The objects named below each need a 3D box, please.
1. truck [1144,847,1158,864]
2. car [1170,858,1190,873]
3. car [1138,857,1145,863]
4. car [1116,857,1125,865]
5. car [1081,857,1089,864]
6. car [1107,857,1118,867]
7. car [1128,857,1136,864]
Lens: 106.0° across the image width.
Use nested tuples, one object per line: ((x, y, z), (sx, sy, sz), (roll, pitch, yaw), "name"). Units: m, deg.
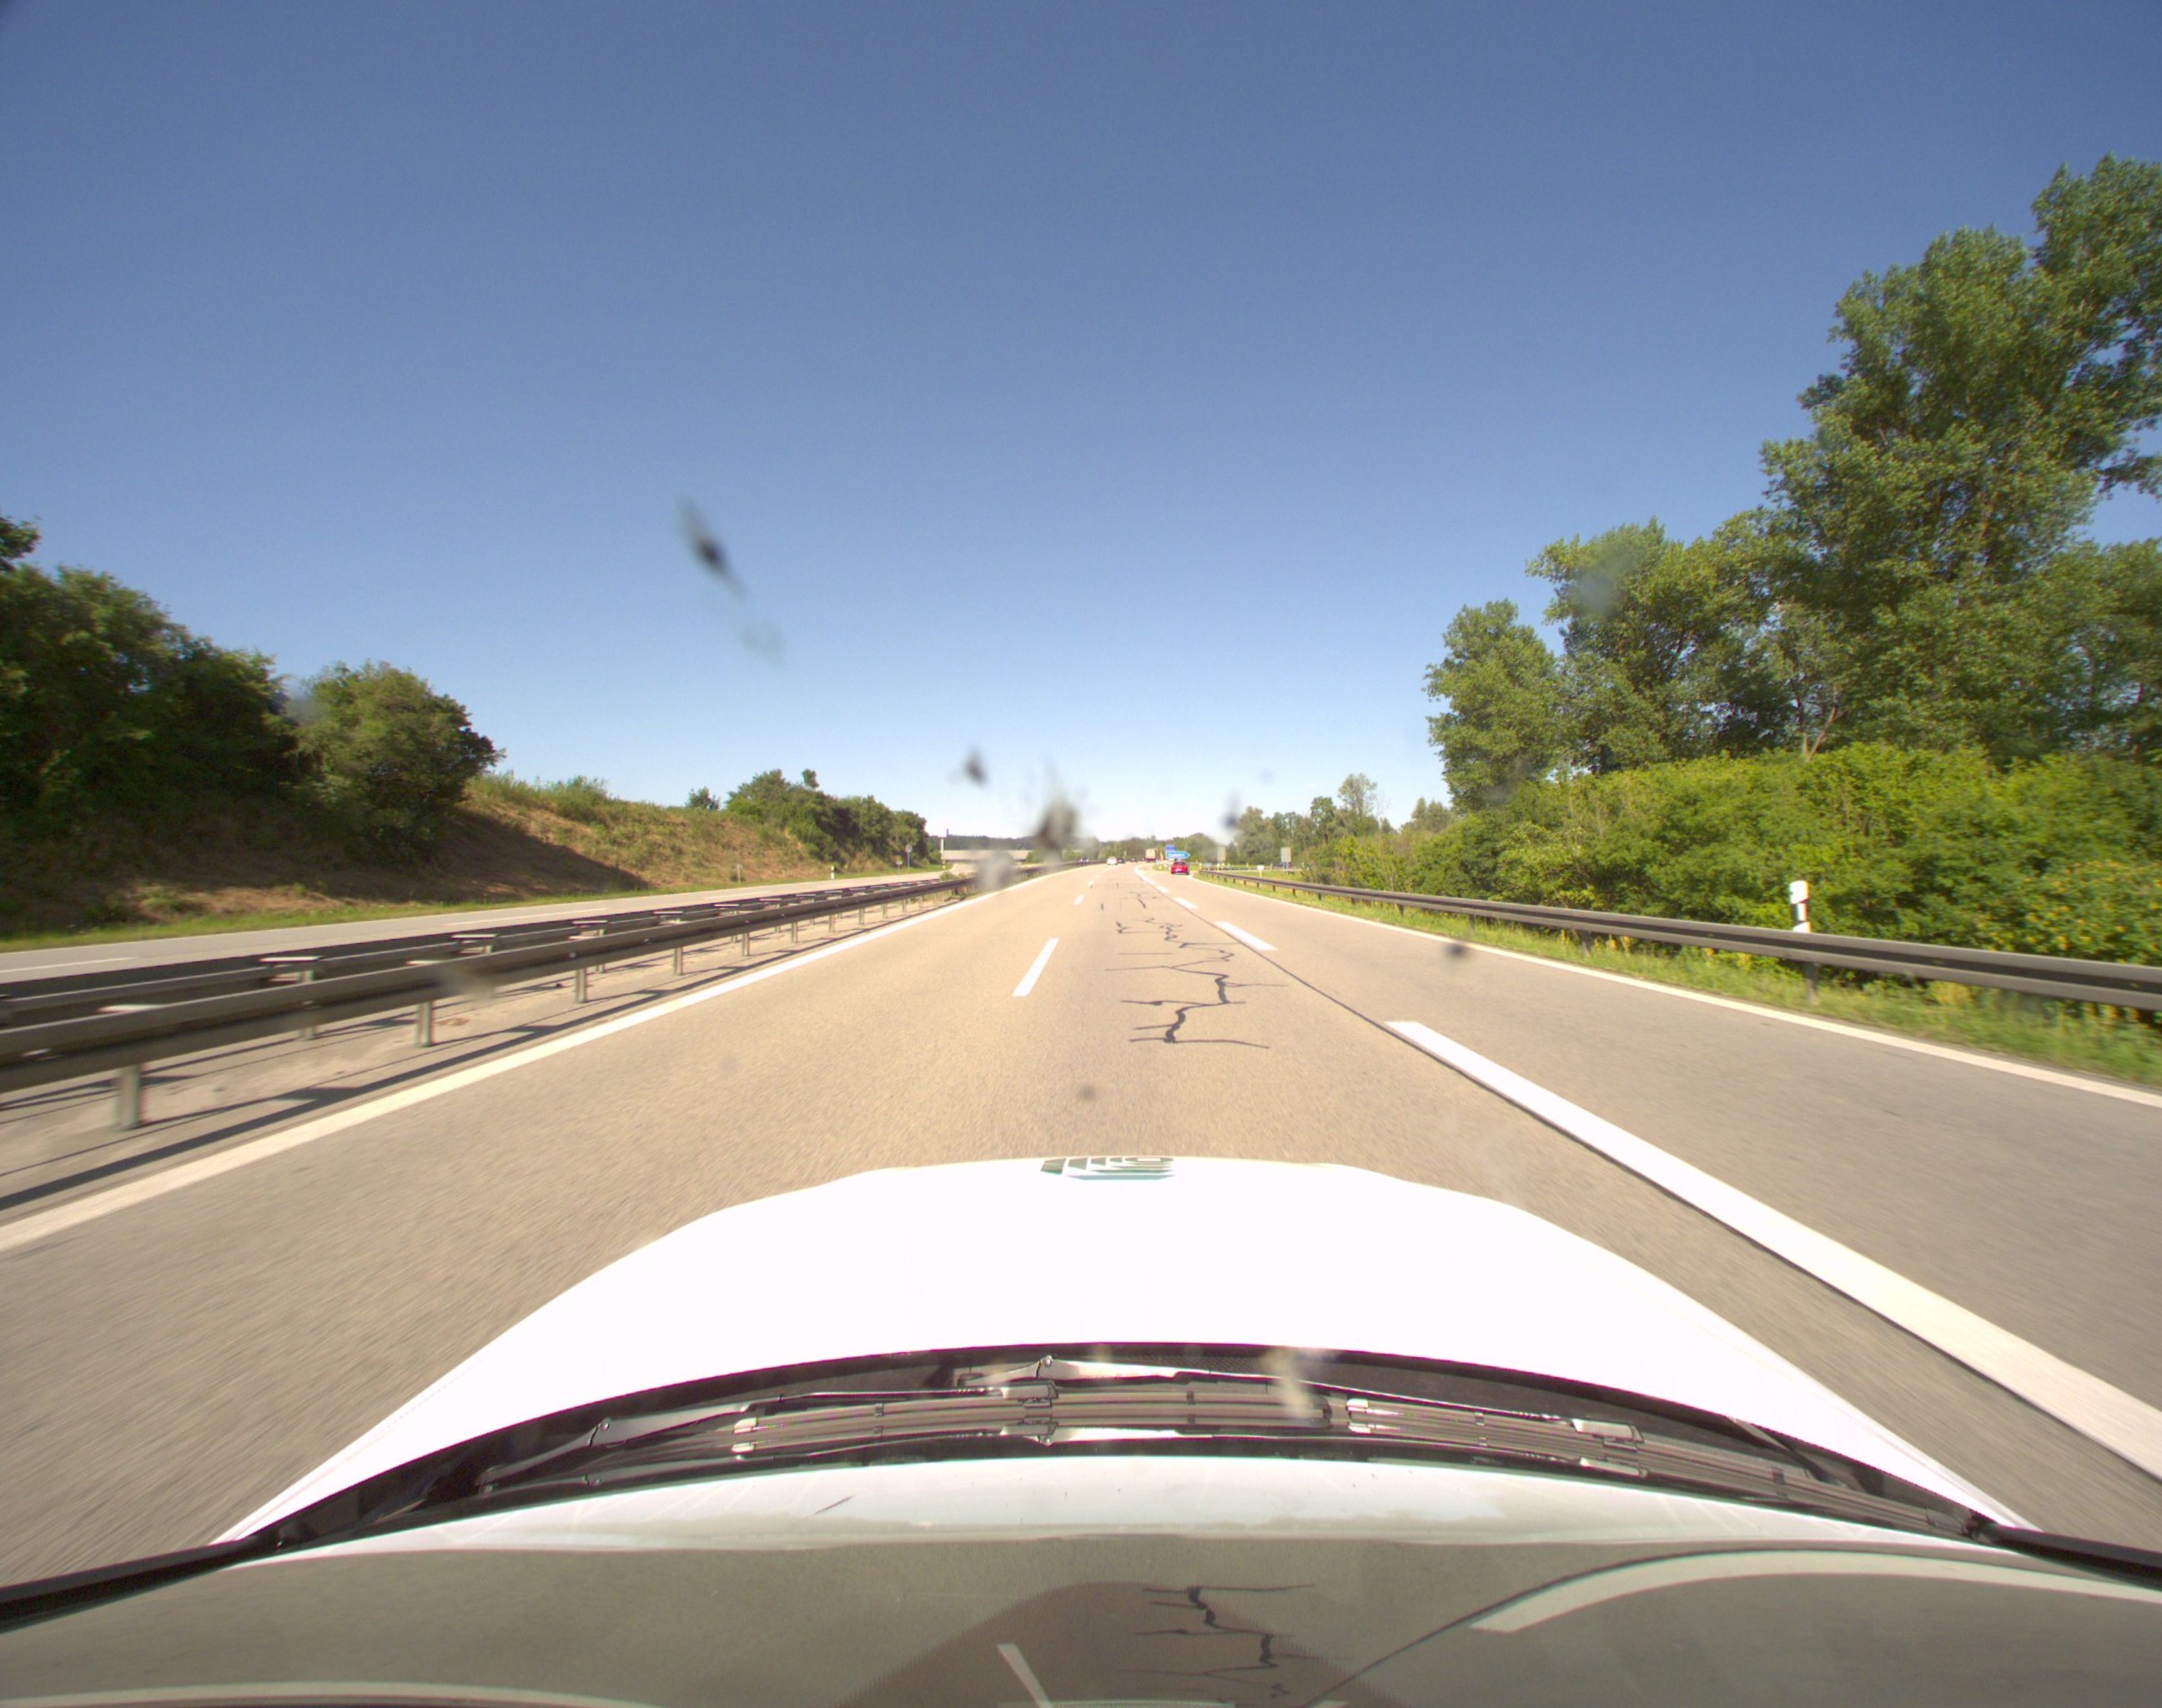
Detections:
((19.855, 0.412, 232.003), (3.819, 4.397, 11.486), (-2, 0, 5), "truck")
((10.536, 1.261, 86.573), (1.773, 1.431, 4.011), (2, -1, 10), "car")
((18.685, 1.769, 250.620), (1.984, 1.750, 4.005), (0, 0, 5), "car")
((8.650, 1.512, 178.668), (1.986, 1.750, 4.002), (0, 0, 2), "car")
((0.919, 1.571, 197.624), (1.872, 1.625, 4.001), (-2, -3, 2), "car")
((6.063, 1.513, 156.526), (2.054, 1.625, 4.001), (-2, -3, 2), "car")
((13.811, 1.780, 221.026), (1.986, 1.750, 4.002), (0, 0, 2), "car")
